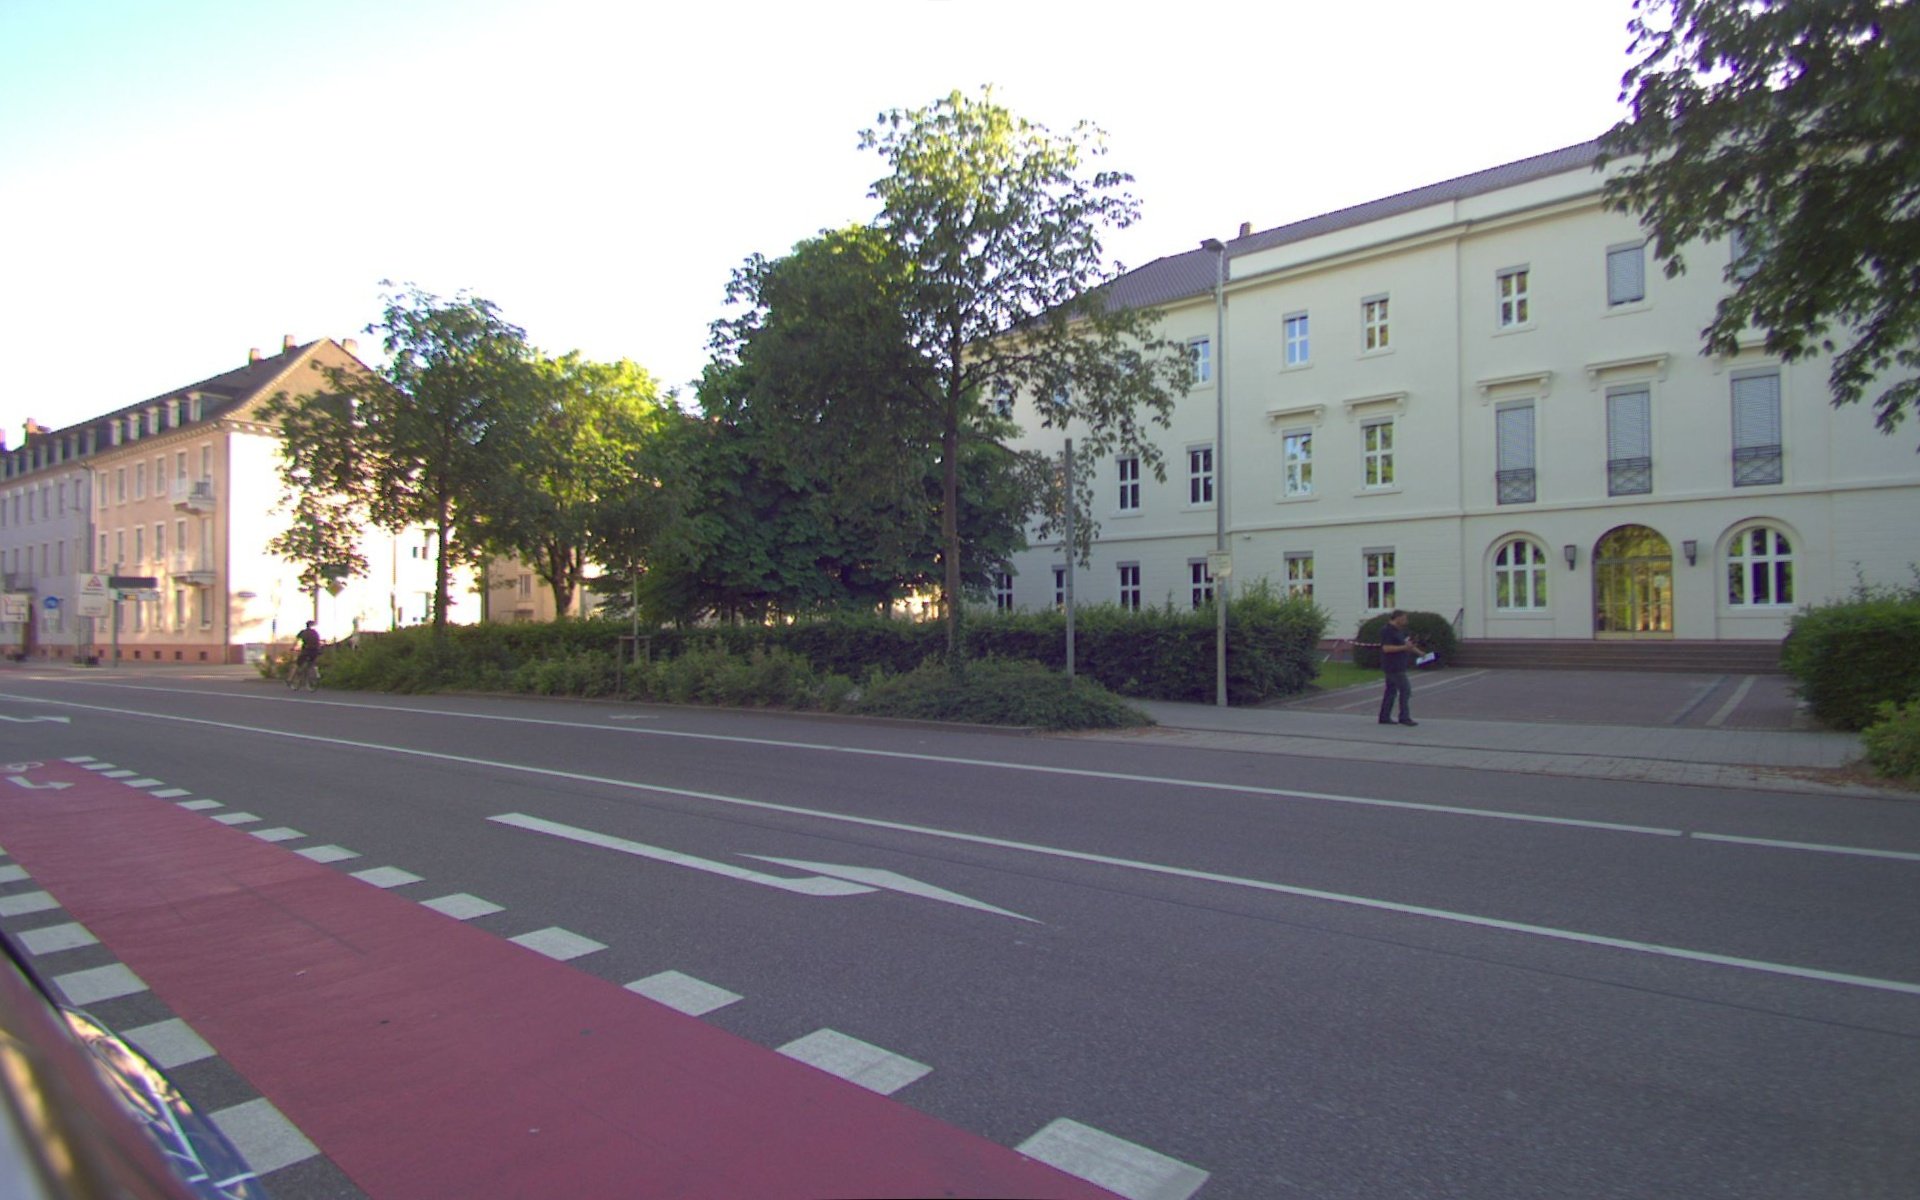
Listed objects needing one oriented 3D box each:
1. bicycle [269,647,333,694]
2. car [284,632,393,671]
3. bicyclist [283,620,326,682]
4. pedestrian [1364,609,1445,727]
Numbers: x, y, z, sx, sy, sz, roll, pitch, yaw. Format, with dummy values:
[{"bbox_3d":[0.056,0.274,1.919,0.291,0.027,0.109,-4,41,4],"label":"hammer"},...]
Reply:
[{"bbox_3d":[-17.242,1.827,26.467,2.242,1.168,0.688,-2,-3,38],"label":"bicycle"},{"bbox_3d":[-29.391,2.391,47.974,1.993,1.674,3.958,-1,0,31],"label":"car"},{"bbox_3d":[-17.068,1.329,26.356,0.837,1.574,0.683,-2,-3,38],"label":"bicyclist"},{"bbox_3d":[6.823,1.022,15.529,0.966,1.733,0.827,-2,-3,35],"label":"pedestrian"}]
